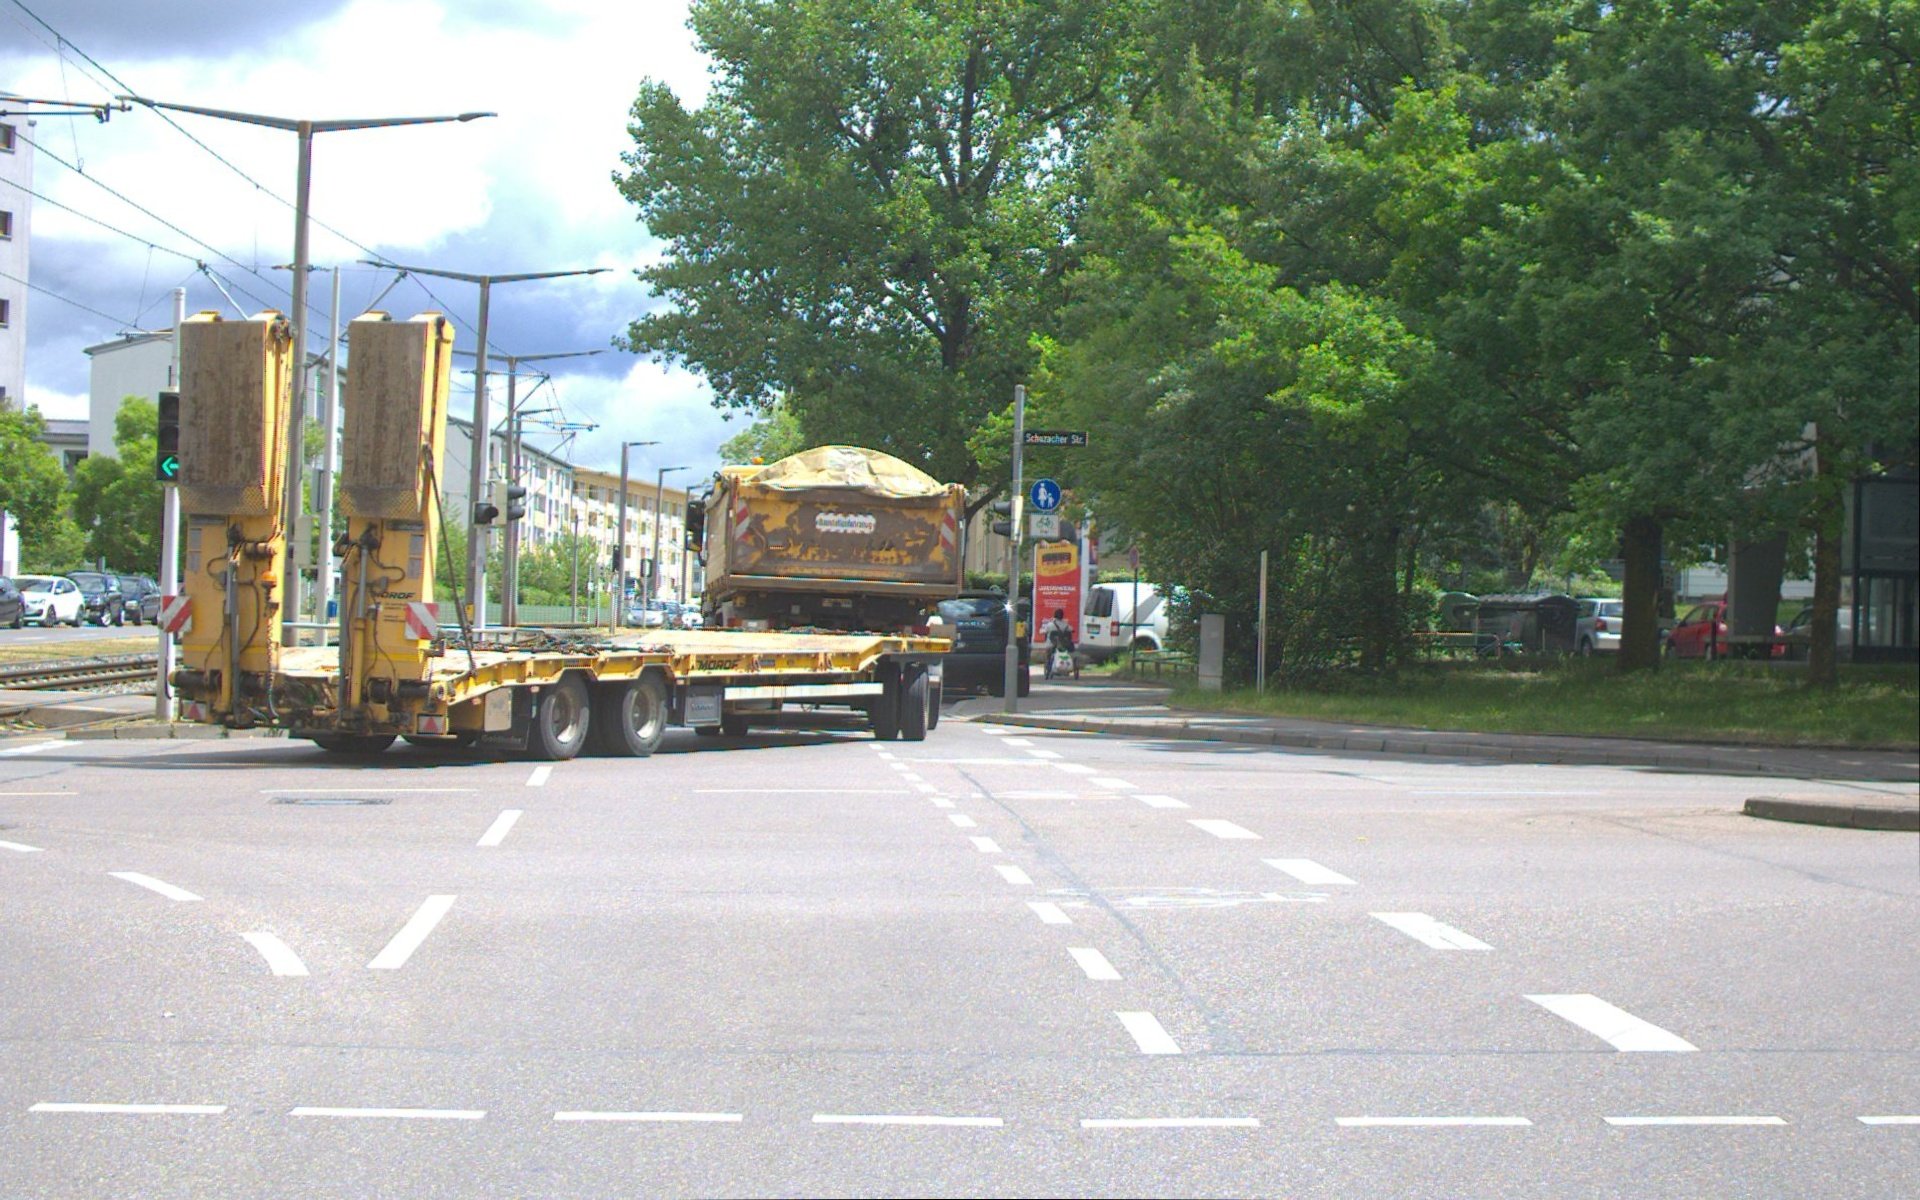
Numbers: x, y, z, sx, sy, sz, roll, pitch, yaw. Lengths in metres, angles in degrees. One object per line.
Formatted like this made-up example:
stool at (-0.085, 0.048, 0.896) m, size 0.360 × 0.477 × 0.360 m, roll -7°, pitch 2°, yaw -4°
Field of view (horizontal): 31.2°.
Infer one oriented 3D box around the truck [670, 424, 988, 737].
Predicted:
truck at (-1.729, -0.248, 40.725) m, size 2.833 × 3.319 × 7.986 m, roll 1°, pitch 1°, yaw -9°

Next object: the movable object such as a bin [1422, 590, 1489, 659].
movable object such as a bin at (10.526, 0.508, 73.026) m, size 1.115 × 1.425 × 1.286 m, roll 1°, pitch 0°, yaw -6°

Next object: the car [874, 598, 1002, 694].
car at (-0.398, 0.730, 56.541) m, size 1.643 × 1.453 × 4.077 m, roll 1°, pitch 1°, yaw -7°

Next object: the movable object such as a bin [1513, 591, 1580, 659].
movable object such as a bin at (12.616, 0.539, 73.984) m, size 1.115 × 1.425 × 1.286 m, roll 1°, pitch 0°, yaw -6°

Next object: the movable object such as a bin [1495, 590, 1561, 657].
movable object such as a bin at (12.456, 0.510, 75.465) m, size 1.115 × 1.425 × 1.286 m, roll 1°, pitch 0°, yaw -6°

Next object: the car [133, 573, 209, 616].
car at (-26.802, -0.210, 116.857) m, size 1.613 × 1.421 × 3.422 m, roll 1°, pitch 1°, yaw 4°

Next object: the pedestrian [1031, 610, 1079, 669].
pedestrian at (1.729, 0.718, 62.684) m, size 0.775 × 1.051 × 0.547 m, roll 1°, pitch 0°, yaw -9°

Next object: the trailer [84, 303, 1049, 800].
trailer at (-3.021, -0.410, 31.914) m, size 3.055 × 3.760 × 11.595 m, roll 1°, pitch 1°, yaw 26°

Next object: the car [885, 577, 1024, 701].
car at (-0.125, 0.553, 52.047) m, size 1.643 × 1.756 × 4.570 m, roll 1°, pitch 1°, yaw -6°

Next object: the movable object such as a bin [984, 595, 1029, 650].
movable object such as a bin at (1.224, 0.597, 90.741) m, size 1.098 × 1.434 × 0.761 m, roll 1°, pitch 0°, yaw -5°

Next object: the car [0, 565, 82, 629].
car at (-26.117, -0.099, 96.859) m, size 1.993 × 1.657 × 4.100 m, roll 3°, pitch 0°, yaw -5°

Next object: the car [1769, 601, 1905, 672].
car at (19.430, 0.784, 76.353) m, size 1.743 × 1.465 × 4.001 m, roll 1°, pitch 1°, yaw -4°

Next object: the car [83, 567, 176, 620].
car at (-26.576, -0.229, 110.105) m, size 1.993 × 1.642 × 4.100 m, roll 1°, pitch 1°, yaw 0°

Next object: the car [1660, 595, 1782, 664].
car at (17.036, 0.636, 77.094) m, size 1.743 × 1.438 × 4.000 m, roll 1°, pitch 1°, yaw -1°

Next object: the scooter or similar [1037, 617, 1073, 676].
scooter or similar at (1.736, 0.851, 62.696) m, size 0.476 × 1.051 × 0.897 m, roll 1°, pitch 0°, yaw -9°

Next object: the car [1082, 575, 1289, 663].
car at (4.780, 0.400, 72.844) m, size 3.986 × 1.816 × 1.811 m, roll 1°, pitch 1°, yaw -26°

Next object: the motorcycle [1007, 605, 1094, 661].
motorcycle at (2.025, 0.736, 76.562) m, size 1.794 × 1.206 × 0.712 m, roll 1°, pitch 0°, yaw -25°

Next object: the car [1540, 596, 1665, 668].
car at (14.257, 0.683, 76.514) m, size 1.940 × 1.485 × 4.000 m, roll 1°, pitch 1°, yaw -1°
